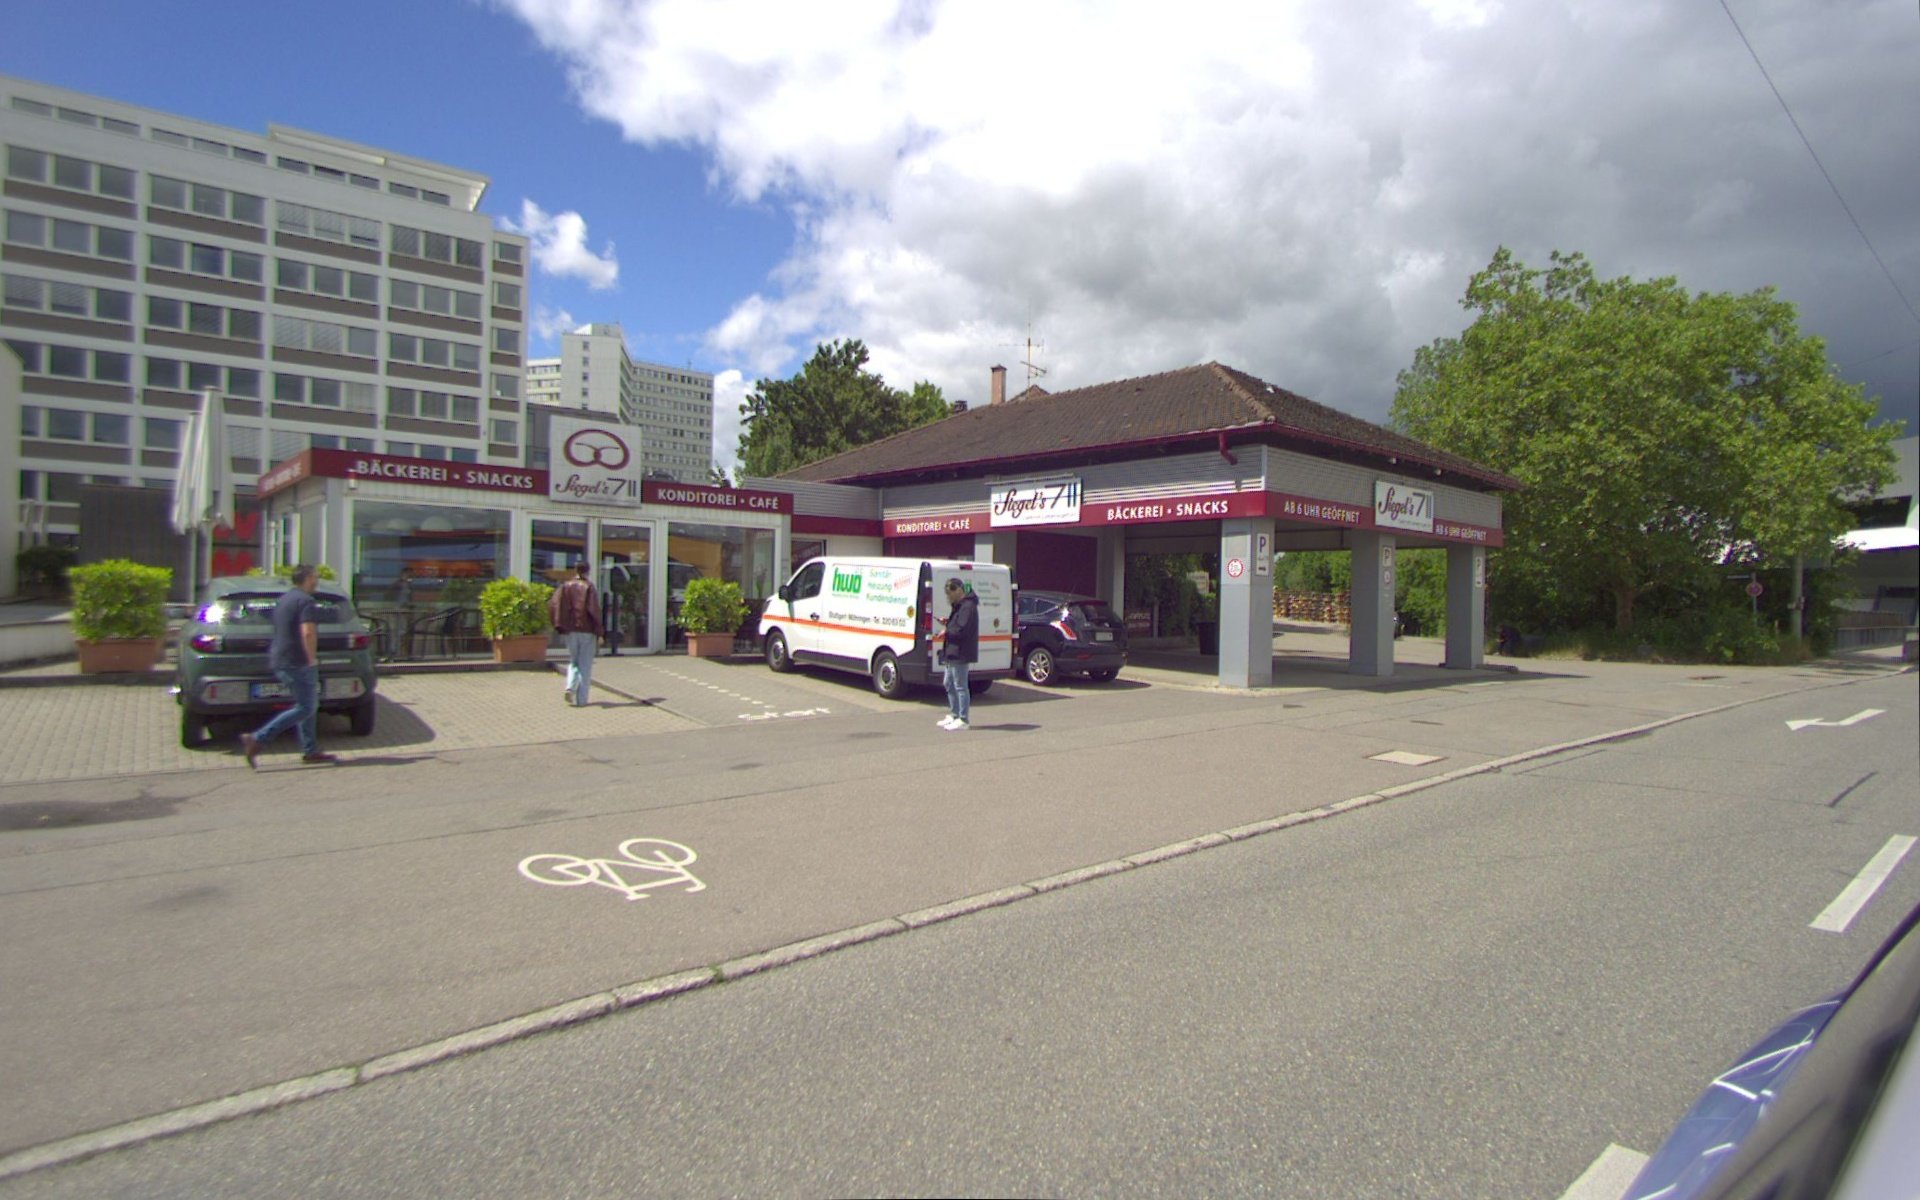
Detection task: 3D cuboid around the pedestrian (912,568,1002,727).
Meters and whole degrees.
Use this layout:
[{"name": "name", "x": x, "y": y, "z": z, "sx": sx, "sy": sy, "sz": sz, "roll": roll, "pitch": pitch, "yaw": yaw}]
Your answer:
[{"name": "pedestrian", "x": -0.034, "y": 0.511, "z": 11.516, "sx": 0.726, "sy": 1.729, "sz": 0.713, "roll": 1, "pitch": 0, "yaw": -40}]

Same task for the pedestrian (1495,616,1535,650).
[{"name": "pedestrian", "x": 21.092, "y": 1.246, "z": 38.462, "sx": 0.945, "sy": 1.264, "sz": 0.888, "roll": 1, "pitch": 0, "yaw": -12}]

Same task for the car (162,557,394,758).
[{"name": "car", "x": -7.209, "y": 0.429, "z": 10.553, "sx": 1.730, "sy": 1.503, "sz": 3.679, "roll": 0, "pitch": 5, "yaw": -38}]

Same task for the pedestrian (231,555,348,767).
[{"name": "pedestrian", "x": -5.738, "y": 0.497, "z": 8.701, "sx": 0.617, "sy": 1.729, "sz": 0.716, "roll": 1, "pitch": 0, "yaw": -14}]

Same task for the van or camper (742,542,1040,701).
[{"name": "van or camper", "x": -1.261, "y": 0.161, "z": 15.852, "sx": 2.173, "sy": 1.981, "sz": 4.910, "roll": -1, "pitch": 4, "yaw": -40}]

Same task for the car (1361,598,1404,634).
[{"name": "car", "x": 24.485, "y": 0.880, "z": 58.622, "sx": 1.981, "sy": 1.740, "sz": 4.077, "roll": 5, "pitch": 3, "yaw": 25}]

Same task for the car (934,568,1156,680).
[{"name": "car", "x": 1.381, "y": 0.322, "z": 17.416, "sx": 1.804, "sy": 1.503, "sz": 3.458, "roll": -1, "pitch": 5, "yaw": -43}]

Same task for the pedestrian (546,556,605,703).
[{"name": "pedestrian", "x": -4.692, "y": 0.346, "z": 12.386, "sx": 0.558, "sy": 1.729, "sz": 0.752, "roll": 1, "pitch": 0, "yaw": -14}]

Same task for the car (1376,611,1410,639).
[{"name": "car", "x": 29.985, "y": 1.692, "z": 70.052, "sx": 1.980, "sy": 1.526, "sz": 3.966, "roll": 5, "pitch": 3, "yaw": 25}]
